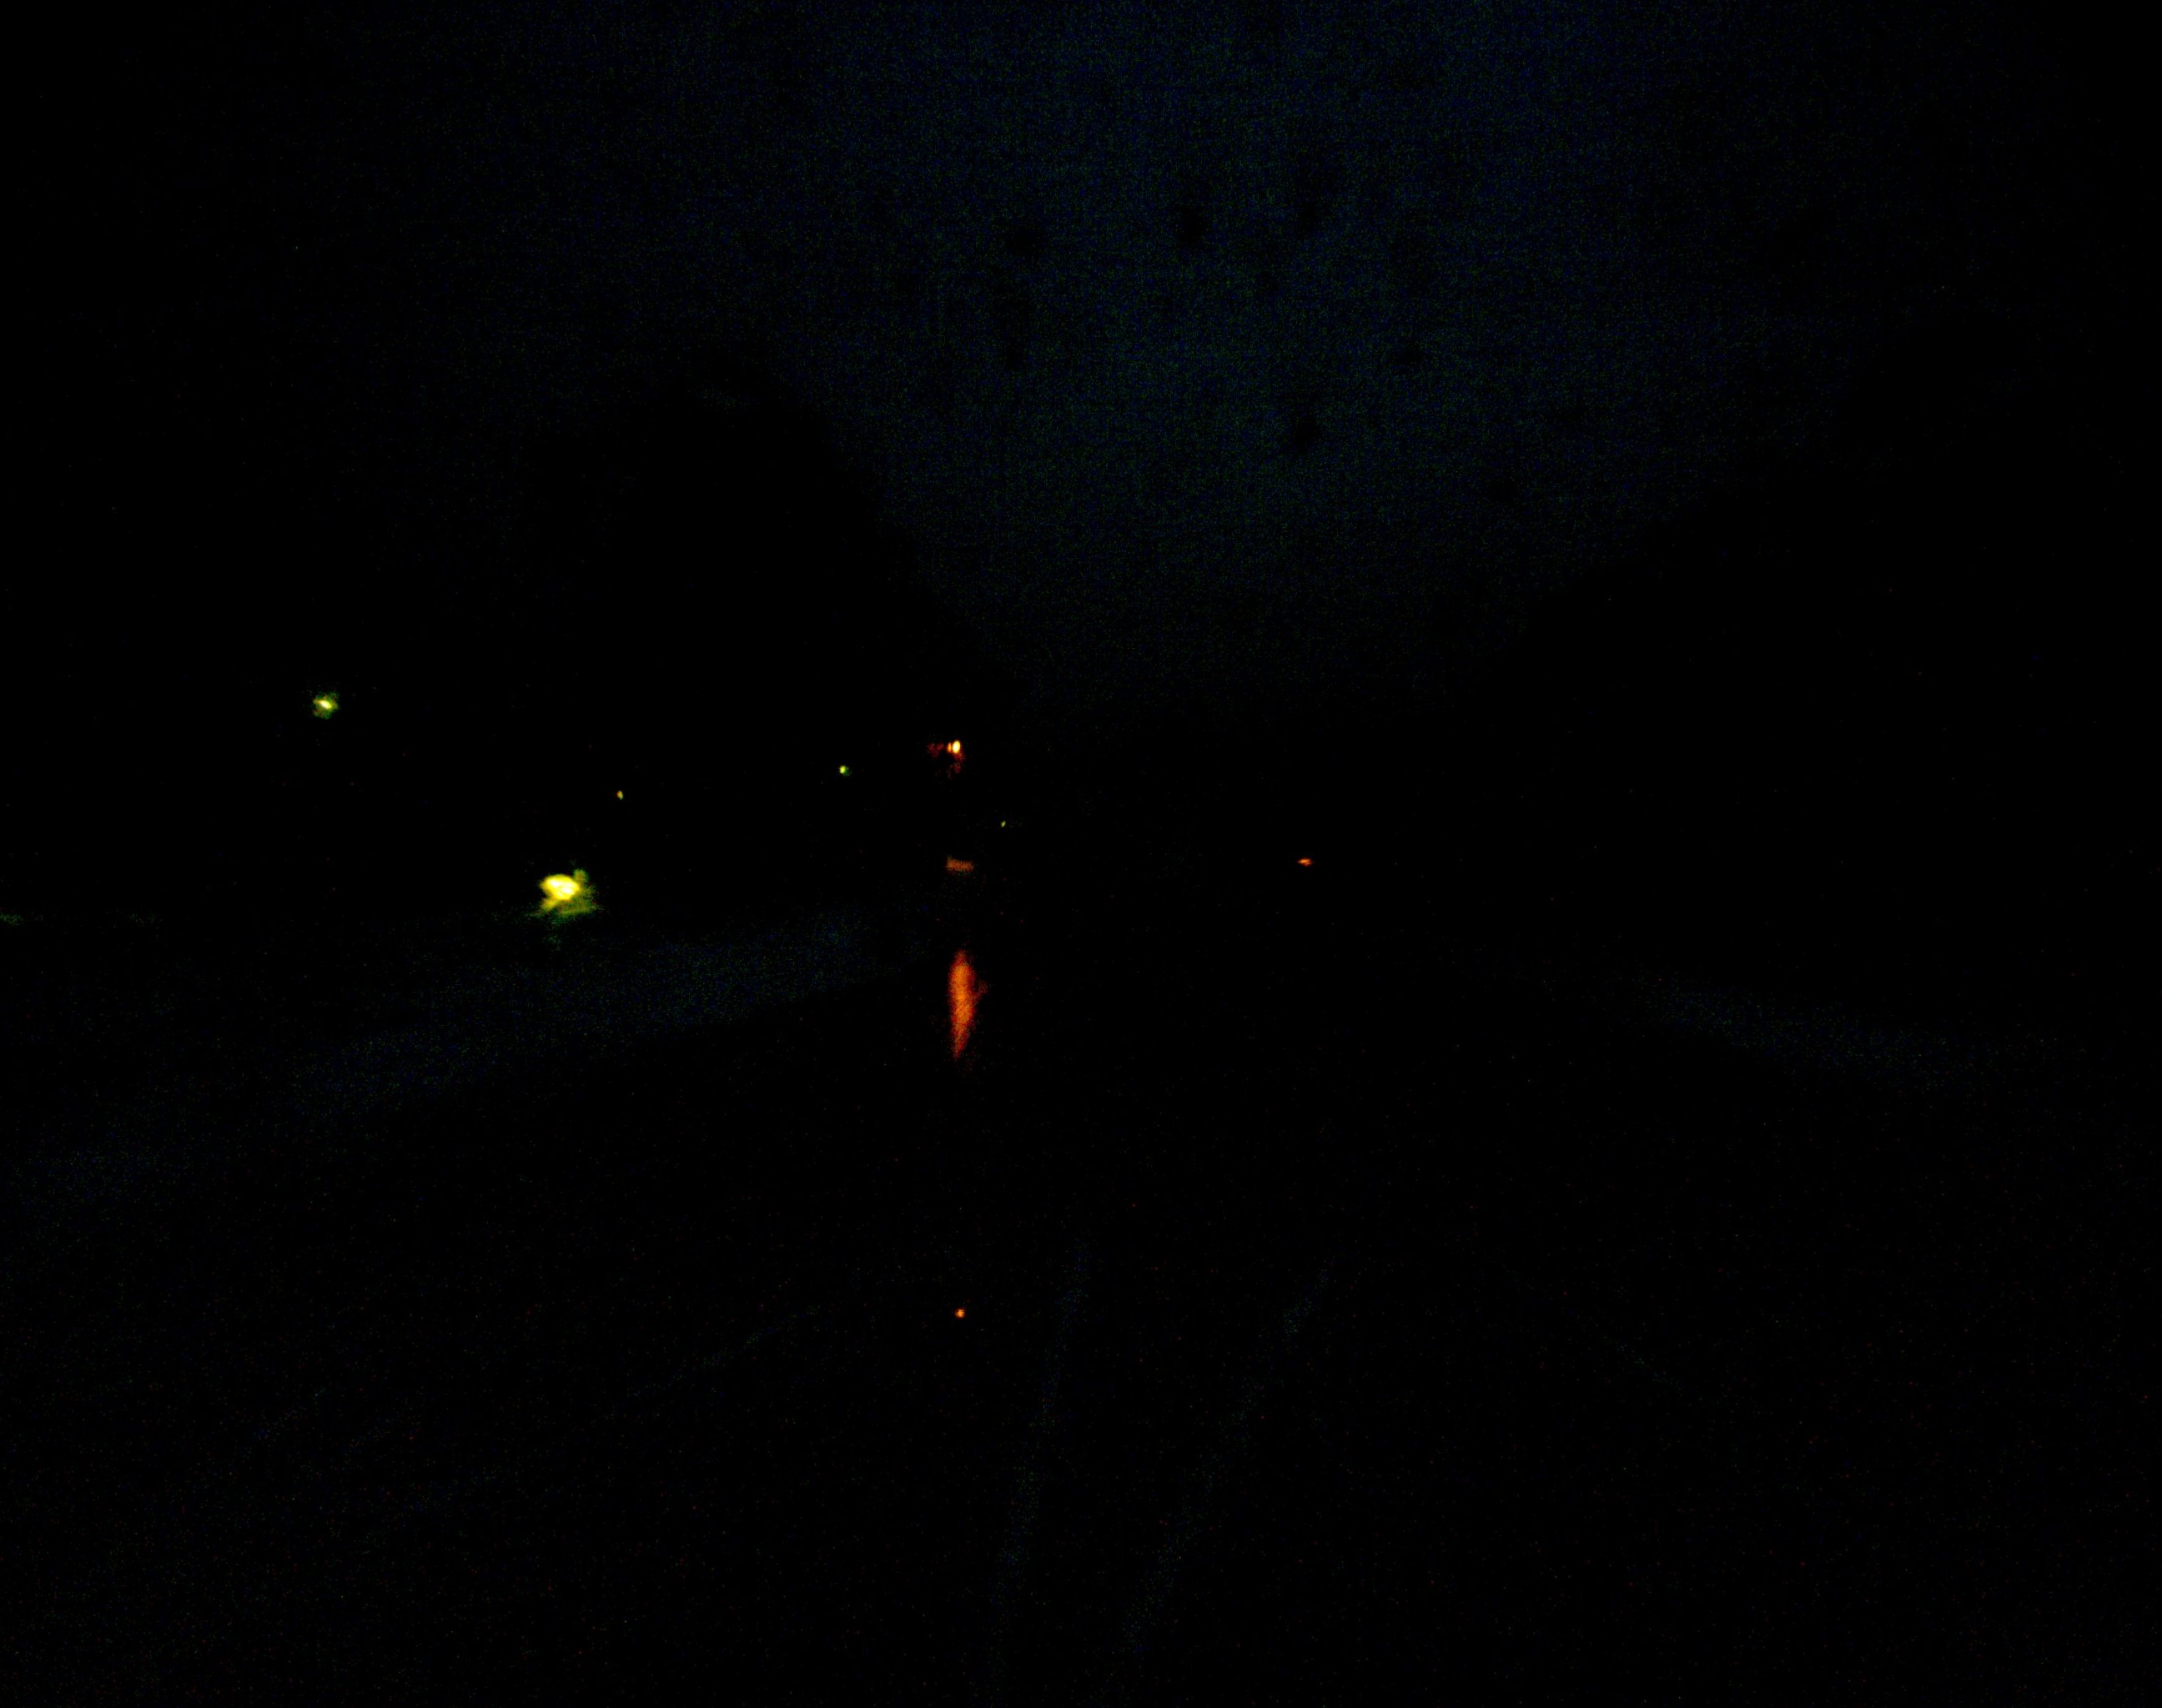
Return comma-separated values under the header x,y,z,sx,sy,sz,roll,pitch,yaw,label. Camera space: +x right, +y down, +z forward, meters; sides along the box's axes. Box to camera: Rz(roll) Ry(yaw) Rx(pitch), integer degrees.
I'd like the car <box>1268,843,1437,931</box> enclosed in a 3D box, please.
x,y,z,sx,sy,sz,roll,pitch,yaw,label
5.133,0.555,14.898,1.724,1.525,3.514,1,1,-6,car

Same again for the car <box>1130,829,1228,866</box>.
x,y,z,sx,sy,sz,roll,pitch,yaw,label
5.759,-0.399,45.047,5.279,2.003,2.210,1,5,-11,car

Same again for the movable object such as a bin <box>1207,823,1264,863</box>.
x,y,z,sx,sy,sz,roll,pitch,yaw,label
6.960,-0.500,34.136,2.367,1.639,1.442,-2,2,13,movable object such as a bin
